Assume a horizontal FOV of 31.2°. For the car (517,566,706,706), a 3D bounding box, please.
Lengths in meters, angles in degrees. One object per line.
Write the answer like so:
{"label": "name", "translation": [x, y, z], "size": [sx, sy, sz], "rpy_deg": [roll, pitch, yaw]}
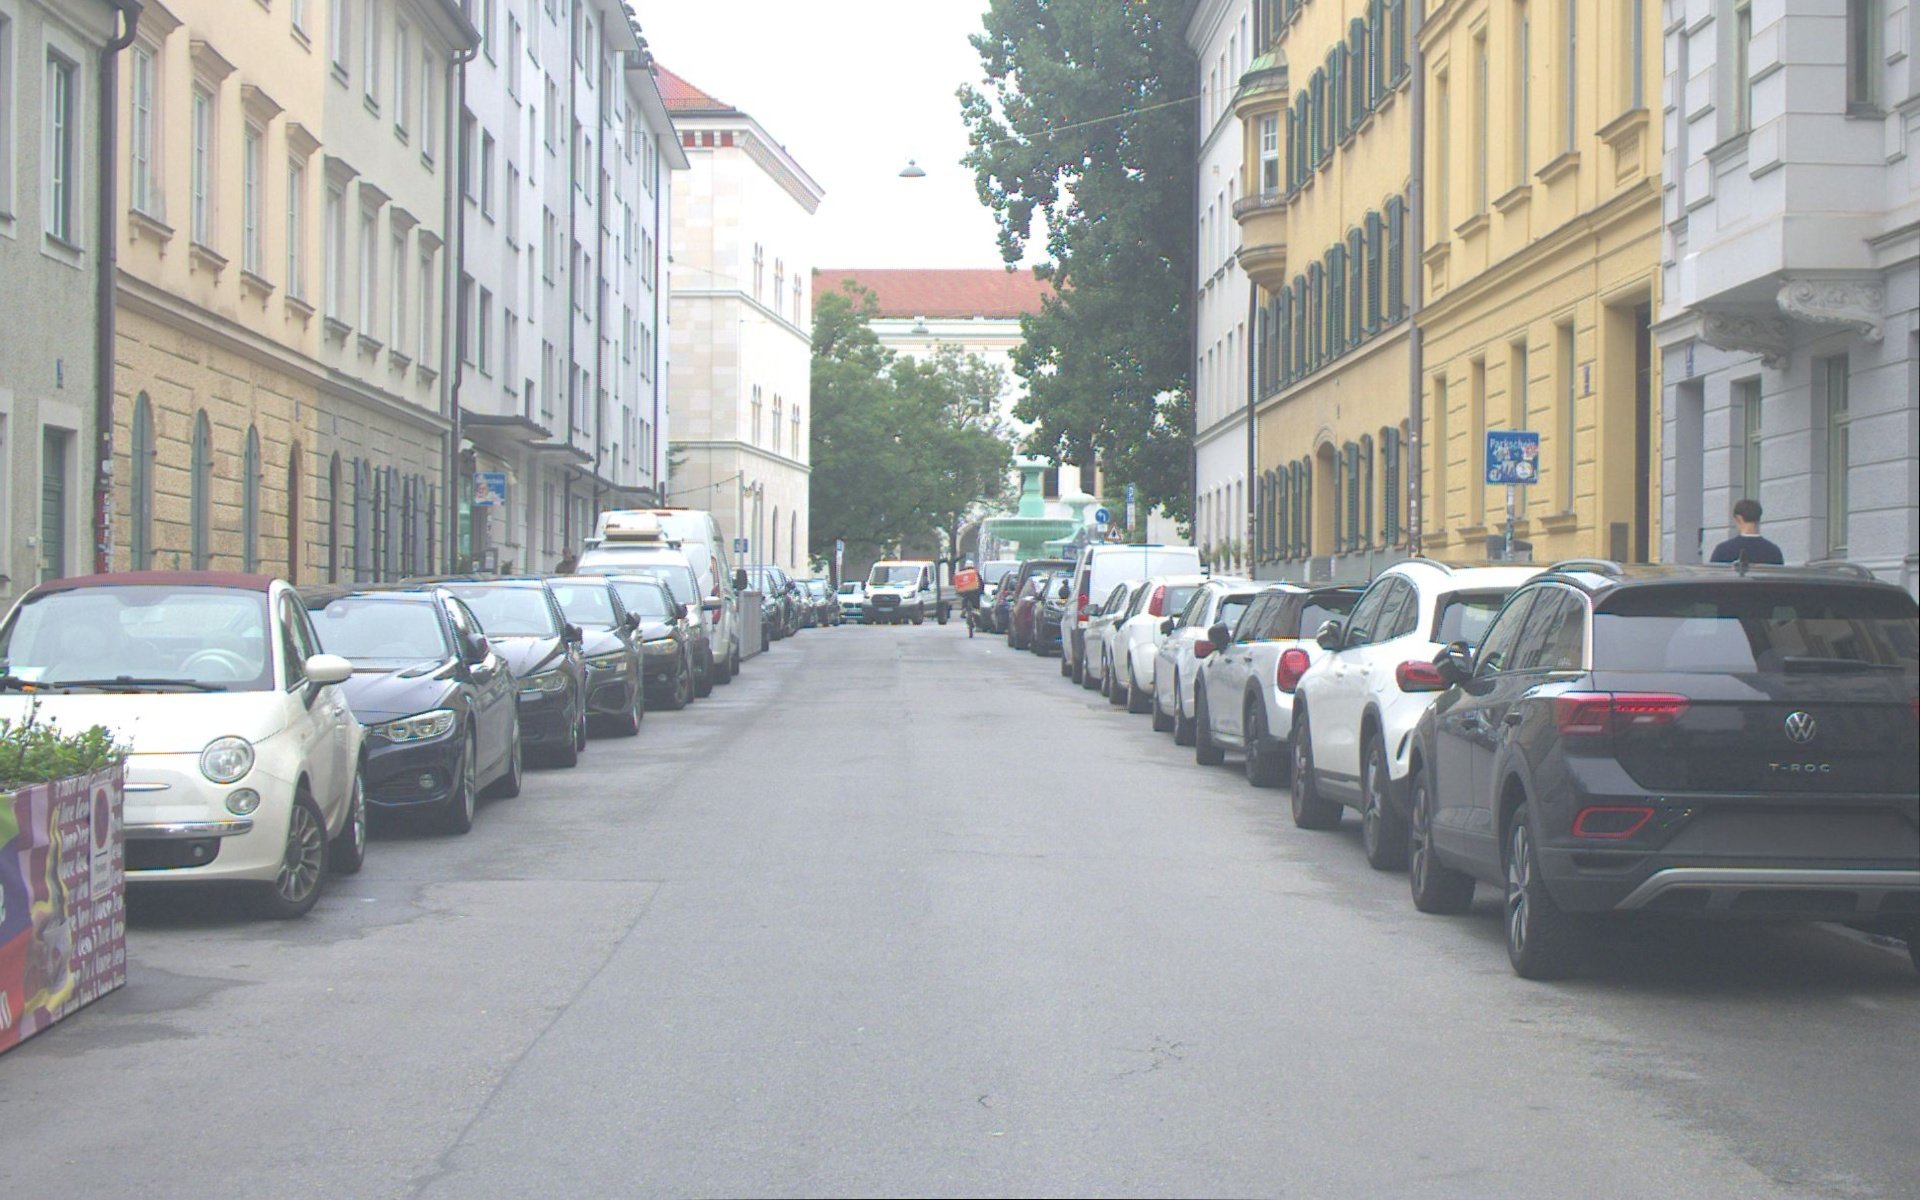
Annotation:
{"label": "car", "translation": [-3.703, 0.360, 37.067], "size": [1.754, 1.404, 4.103], "rpy_deg": [1, 0, -2]}

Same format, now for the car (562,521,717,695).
{"label": "car", "translation": [-3.907, 0.082, 42.146], "size": [1.754, 1.988, 4.626], "rpy_deg": [1, 0, -5]}

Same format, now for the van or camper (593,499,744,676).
{"label": "van or camper", "translation": [-3.955, -0.174, 47.349], "size": [1.754, 2.273, 5.273], "rpy_deg": [1, 0, -2]}

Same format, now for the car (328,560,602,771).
{"label": "car", "translation": [-3.780, 0.460, 26.840], "size": [1.754, 1.491, 4.201], "rpy_deg": [1, 0, -4]}

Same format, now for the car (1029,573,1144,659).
{"label": "car", "translation": [2.277, 0.283, 62.763], "size": [1.811, 1.460, 4.247], "rpy_deg": [2, 0, -1]}

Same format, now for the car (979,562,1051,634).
{"label": "car", "translation": [1.482, -0.056, 94.315], "size": [1.852, 1.913, 4.769], "rpy_deg": [1, 0, 0]}

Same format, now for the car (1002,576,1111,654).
{"label": "car", "translation": [1.862, 0.277, 67.525], "size": [1.811, 1.420, 4.247], "rpy_deg": [2, 0, -2]}

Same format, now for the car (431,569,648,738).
{"label": "car", "translation": [-3.828, 0.442, 31.872], "size": [1.816, 1.436, 4.132], "rpy_deg": [0, 1, -5]}

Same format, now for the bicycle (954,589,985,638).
{"label": "bicycle", "translation": [0.215, 0.314, 78.937], "size": [0.675, 1.091, 1.760], "rpy_deg": [0, -1, 0]}

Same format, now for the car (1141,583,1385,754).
{"label": "car", "translation": [2.665, 0.564, 31.199], "size": [1.708, 1.404, 4.815], "rpy_deg": [1, 0, -1]}

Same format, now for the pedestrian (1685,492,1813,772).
{"label": "pedestrian", "translation": [5.707, 0.235, 24.902], "size": [0.669, 1.974, 0.708], "rpy_deg": [-3, -1, 0]}

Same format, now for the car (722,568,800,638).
{"label": "car", "translation": [-4.680, 0.064, 81.151], "size": [1.706, 1.604, 3.863], "rpy_deg": [0, 0, -2]}

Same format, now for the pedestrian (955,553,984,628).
{"label": "pedestrian", "translation": [0.222, -0.208, 78.949], "size": [0.642, 1.708, 0.843], "rpy_deg": [0, -1, 0]}

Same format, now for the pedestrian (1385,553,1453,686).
{"label": "pedestrian", "translation": [5.523, 0.234, 41.369], "size": [0.660, 1.566, 0.642], "rpy_deg": [-2, -1, -1]}

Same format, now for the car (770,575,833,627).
{"label": "car", "translation": [-5.001, 0.019, 109.025], "size": [1.706, 1.604, 3.863], "rpy_deg": [0, 0, 1]}

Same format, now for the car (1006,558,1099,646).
{"label": "car", "translation": [1.977, 0.045, 74.504], "size": [1.812, 1.791, 4.247], "rpy_deg": [2, 0, 0]}

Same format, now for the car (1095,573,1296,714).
{"label": "car", "translation": [2.534, 0.444, 37.869], "size": [1.708, 1.449, 4.097], "rpy_deg": [1, 0, -3]}

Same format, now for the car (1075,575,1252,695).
{"label": "car", "translation": [2.468, 0.401, 42.552], "size": [1.708, 1.388, 4.207], "rpy_deg": [1, 0, -3]}

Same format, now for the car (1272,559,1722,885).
{"label": "car", "translation": [2.853, 0.595, 19.202], "size": [1.743, 1.578, 4.467], "rpy_deg": [1, 0, -1]}

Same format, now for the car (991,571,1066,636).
{"label": "car", "translation": [1.729, 0.090, 88.440], "size": [1.811, 1.609, 4.156], "rpy_deg": [1, 0, 0]}

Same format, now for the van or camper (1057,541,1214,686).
{"label": "van or camper", "translation": [2.374, 0.163, 47.717], "size": [1.833, 1.865, 5.079], "rpy_deg": [1, 0, -1]}

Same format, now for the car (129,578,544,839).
{"label": "car", "translation": [-3.658, 0.572, 20.946], "size": [1.798, 1.335, 4.686], "rpy_deg": [1, 1, -2]}

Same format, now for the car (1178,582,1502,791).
{"label": "car", "translation": [2.727, 0.580, 25.557], "size": [1.708, 1.400, 4.208], "rpy_deg": [1, 0, -3]}

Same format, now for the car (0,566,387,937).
{"label": "car", "translation": [-3.719, 0.599, 15.791], "size": [1.754, 1.470, 3.714], "rpy_deg": [2, 0, -4]}

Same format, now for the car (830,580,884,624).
{"label": "car", "translation": [-3.686, 0.062, 123.678], "size": [1.706, 1.576, 3.863], "rpy_deg": [0, 0, 2]}

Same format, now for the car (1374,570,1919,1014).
{"label": "car", "translation": [2.865, 0.663, 14.059], "size": [1.754, 1.516, 4.274], "rpy_deg": [1, 0, -1]}

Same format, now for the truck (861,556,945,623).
{"label": "truck", "translation": [-1.947, -0.347, 119.879], "size": [2.121, 2.240, 6.183], "rpy_deg": [0, -1, 7]}
